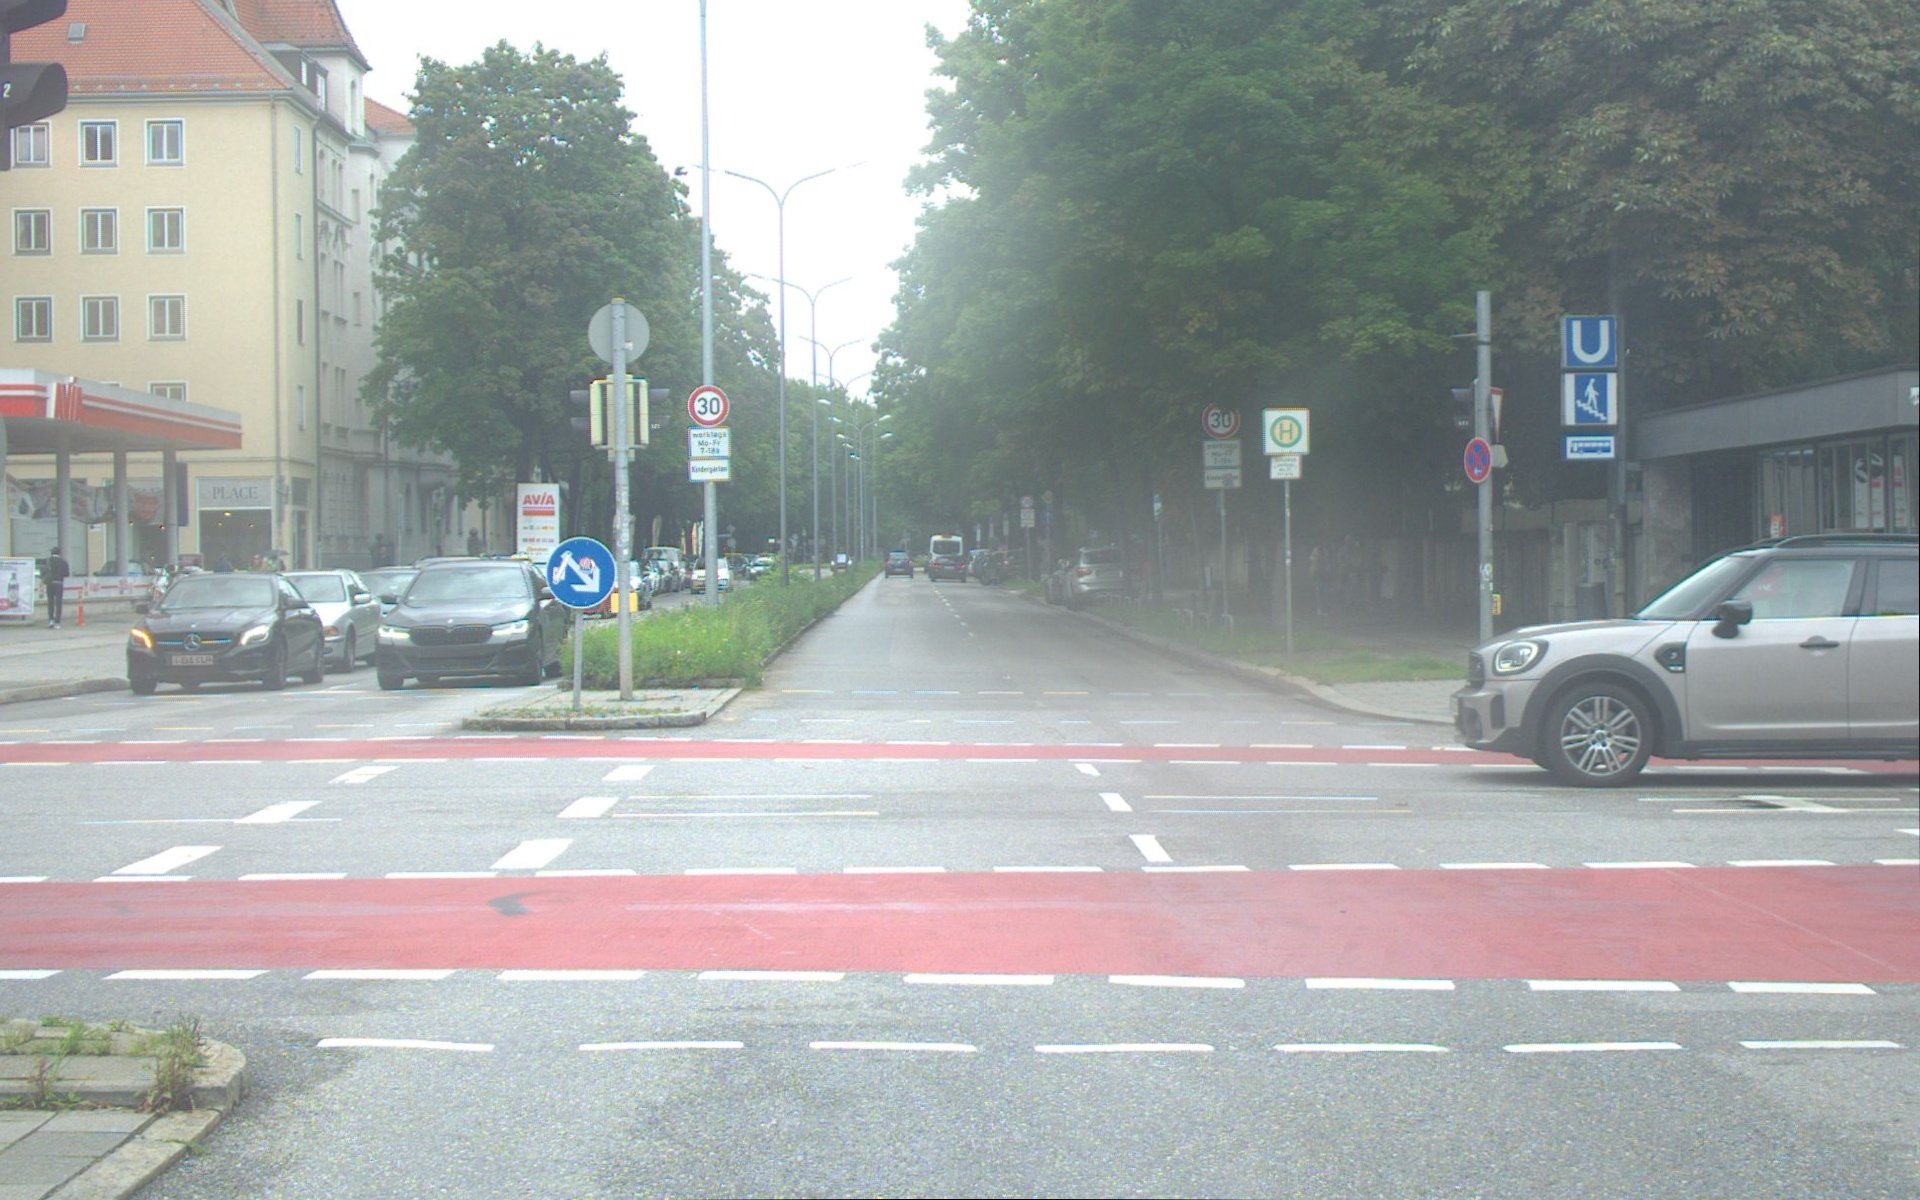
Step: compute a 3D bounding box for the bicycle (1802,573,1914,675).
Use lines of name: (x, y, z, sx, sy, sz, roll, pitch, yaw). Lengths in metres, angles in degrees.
bicycle: (9.409, 0.240, 36.092, 0.556, 1.011, 2.016, -1, 1, -3)

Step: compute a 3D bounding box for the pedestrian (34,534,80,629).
pedestrian: (-19.331, -0.393, 73.589, 0.730, 2.007, 0.834, 1, 0, -1)

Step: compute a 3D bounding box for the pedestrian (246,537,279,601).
pedestrian: (-17.918, -0.804, 88.351, 0.696, 1.632, 0.738, -1, 1, -1)

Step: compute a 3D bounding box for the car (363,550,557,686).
car: (-5.810, 0.169, 40.341, 1.759, 1.488, 4.000, -1, 1, -1)

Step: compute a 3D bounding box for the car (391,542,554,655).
car: (-6.781, -0.053, 48.152, 1.759, 1.488, 4.000, -1, 1, -1)

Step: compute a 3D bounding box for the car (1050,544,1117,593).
car: (3.568, -0.919, 99.734, 1.743, 1.358, 3.807, -1, 1, -1)

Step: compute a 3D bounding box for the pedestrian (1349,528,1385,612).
pedestrian: (8.138, -0.602, 68.734, 0.678, 1.677, 0.682, 0, 1, 5)

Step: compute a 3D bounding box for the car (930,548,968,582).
car: (-0.587, -1.819, 177.822, 1.922, 1.678, 4.000, -1, 1, -1)

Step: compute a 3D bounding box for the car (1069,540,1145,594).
car: (3.817, -0.878, 89.770, 1.743, 1.358, 3.807, -1, 1, -1)

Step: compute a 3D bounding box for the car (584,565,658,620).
car: (-9.623, -0.222, 97.734, 1.759, 1.488, 4.000, -1, 1, -1)

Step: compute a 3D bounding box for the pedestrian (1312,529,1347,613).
pedestrian: (7.369, -0.585, 68.616, 0.678, 1.677, 0.682, 0, 1, 5)

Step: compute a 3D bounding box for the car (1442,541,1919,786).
car: (5.307, 0.380, 22.296, 4.168, 1.508, 1.695, 0, 1, 3)

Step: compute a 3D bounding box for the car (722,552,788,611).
car: (-5.052, -0.474, 85.138, 1.468, 1.394, 3.700, -1, 1, -1)

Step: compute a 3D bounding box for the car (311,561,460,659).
car: (-9.097, 0.126, 54.748, 1.759, 1.455, 4.000, -1, 1, -1)

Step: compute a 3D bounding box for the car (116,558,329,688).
car: (-8.848, 0.241, 41.528, 1.759, 1.455, 4.000, -1, 1, -1)

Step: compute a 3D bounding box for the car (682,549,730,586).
car: (-10.461, -1.354, 141.863, 1.759, 1.455, 4.000, -1, 1, -1)

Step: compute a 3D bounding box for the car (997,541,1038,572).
car: (2.662, -2.027, 159.482, 1.743, 1.422, 3.899, -1, 1, -1)

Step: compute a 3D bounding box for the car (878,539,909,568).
car: (-3.938, -2.757, 203.552, 1.857, 1.678, 4.000, -1, 1, -1)

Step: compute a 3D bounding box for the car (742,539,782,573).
car: (-10.647, -2.372, 185.015, 1.952, 1.817, 4.000, 0, 1, -1)

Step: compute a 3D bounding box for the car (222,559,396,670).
car: (-9.135, 0.173, 48.513, 1.759, 1.455, 4.000, -1, 1, -1)
